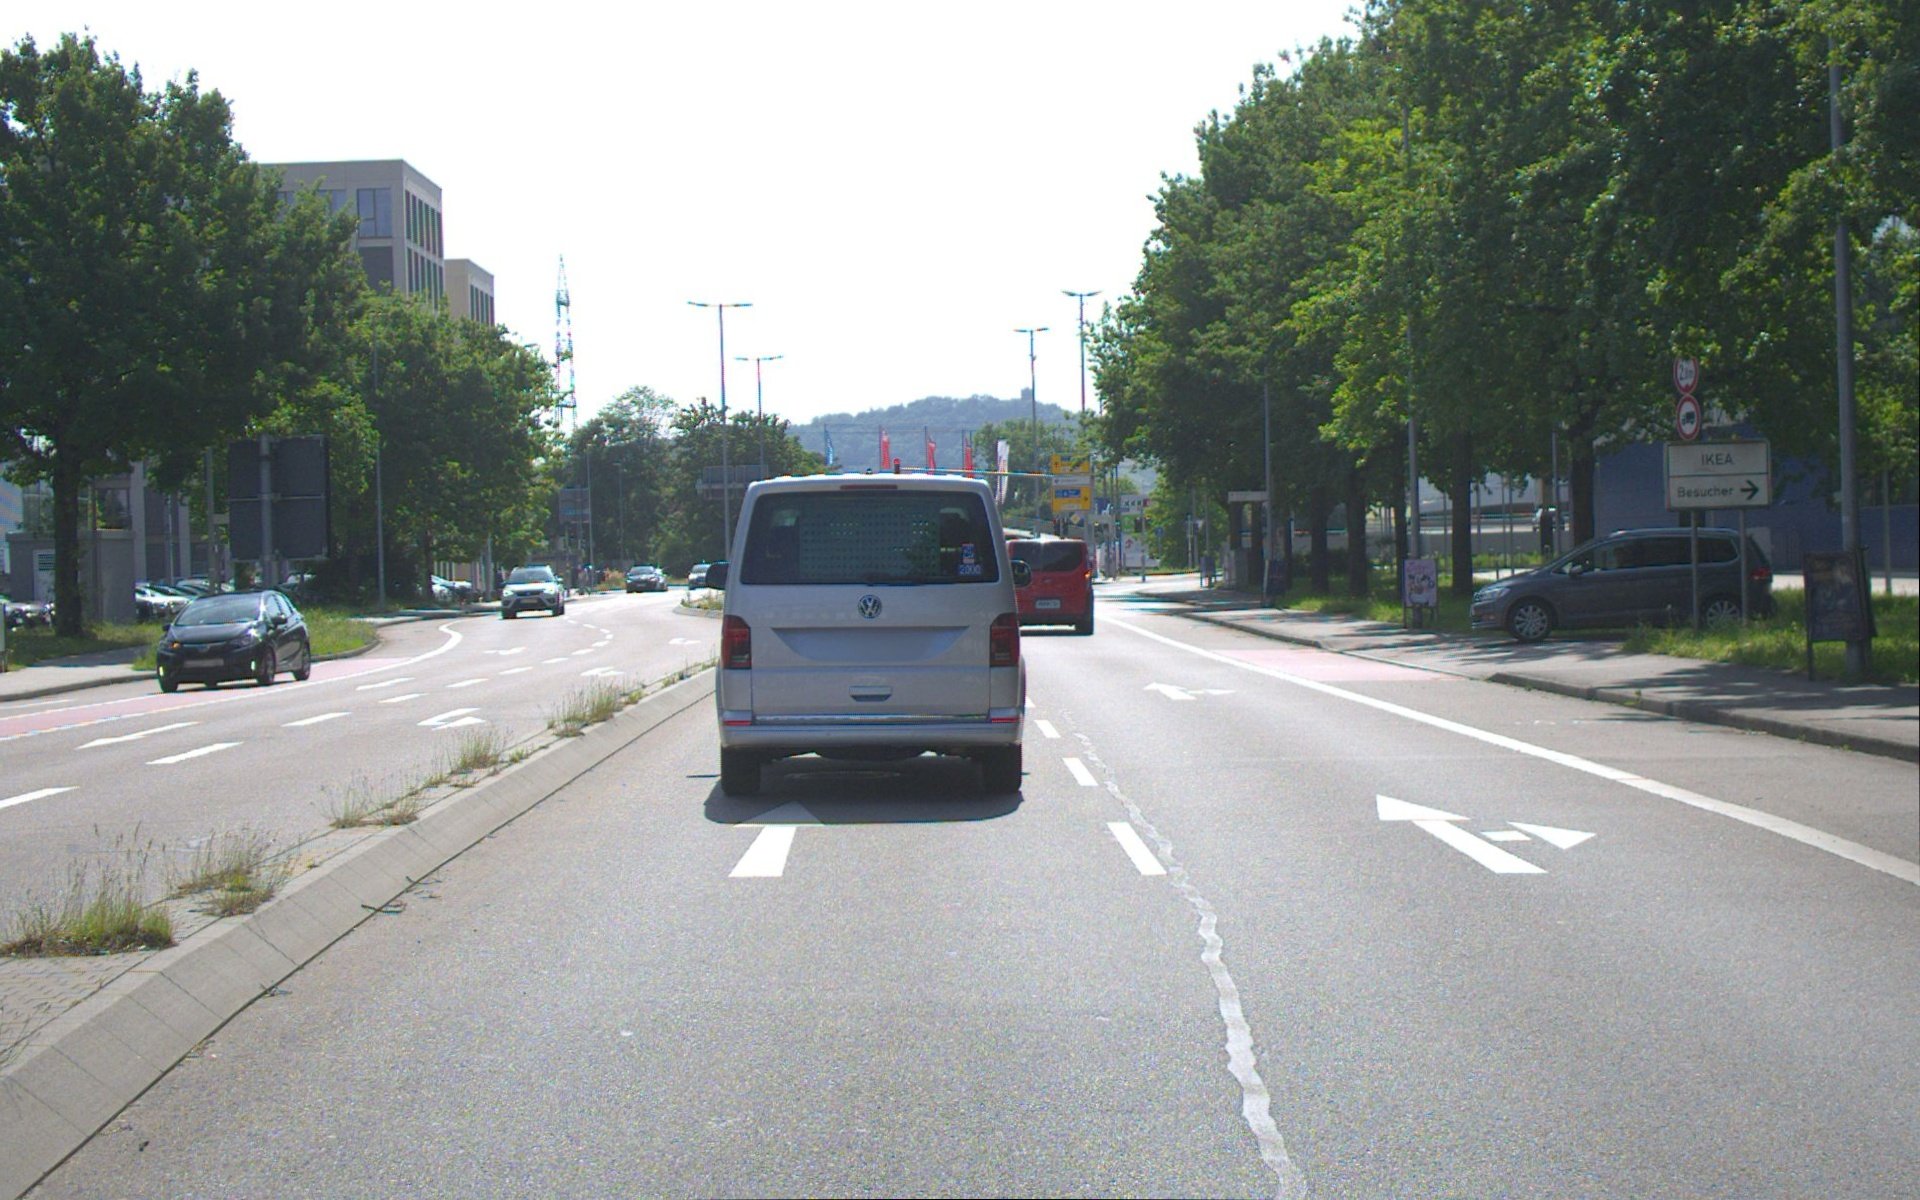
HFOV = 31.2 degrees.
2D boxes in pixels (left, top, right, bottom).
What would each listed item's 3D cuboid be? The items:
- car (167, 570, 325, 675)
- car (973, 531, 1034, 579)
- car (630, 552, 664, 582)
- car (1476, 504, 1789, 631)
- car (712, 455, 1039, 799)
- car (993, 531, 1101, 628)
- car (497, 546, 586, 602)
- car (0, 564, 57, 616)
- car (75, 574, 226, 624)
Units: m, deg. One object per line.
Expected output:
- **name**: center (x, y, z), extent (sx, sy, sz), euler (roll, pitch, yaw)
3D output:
- **car**: center (-11.446, 0.328, 55.344), extent (1.697, 1.513, 4.027), euler (-3, 1, -1)
- **car**: center (1.323, -1.390, 106.265), extent (1.746, 1.453, 4.476), euler (0, 1, -1)
- **car**: center (-18.389, -1.968, 201.865), extent (1.738, 1.613, 4.210), euler (-4, 1, -3)
- **car**: center (10.127, -0.498, 52.063), extent (4.445, 1.688, 1.844), euler (-3, 1, 6)
- **car**: center (-0.521, 0.121, 21.859), extent (1.884, 1.983, 4.000), euler (0, 1, -1)
- **car**: center (1.779, -0.460, 71.791), extent (1.967, 1.961, 5.126), euler (0, 1, -2)
- **car**: center (-13.027, -0.839, 107.136), extent (1.994, 1.612, 4.104), euler (-3, 1, 3)
- **car**: center (-25.466, -0.208, 87.411), extent (4.499, 1.285, 1.920), euler (-2, 1, -3)
- **car**: center (-24.917, -0.039, 105.927), extent (4.173, 1.186, 1.955), euler (-5, 1, -3)
